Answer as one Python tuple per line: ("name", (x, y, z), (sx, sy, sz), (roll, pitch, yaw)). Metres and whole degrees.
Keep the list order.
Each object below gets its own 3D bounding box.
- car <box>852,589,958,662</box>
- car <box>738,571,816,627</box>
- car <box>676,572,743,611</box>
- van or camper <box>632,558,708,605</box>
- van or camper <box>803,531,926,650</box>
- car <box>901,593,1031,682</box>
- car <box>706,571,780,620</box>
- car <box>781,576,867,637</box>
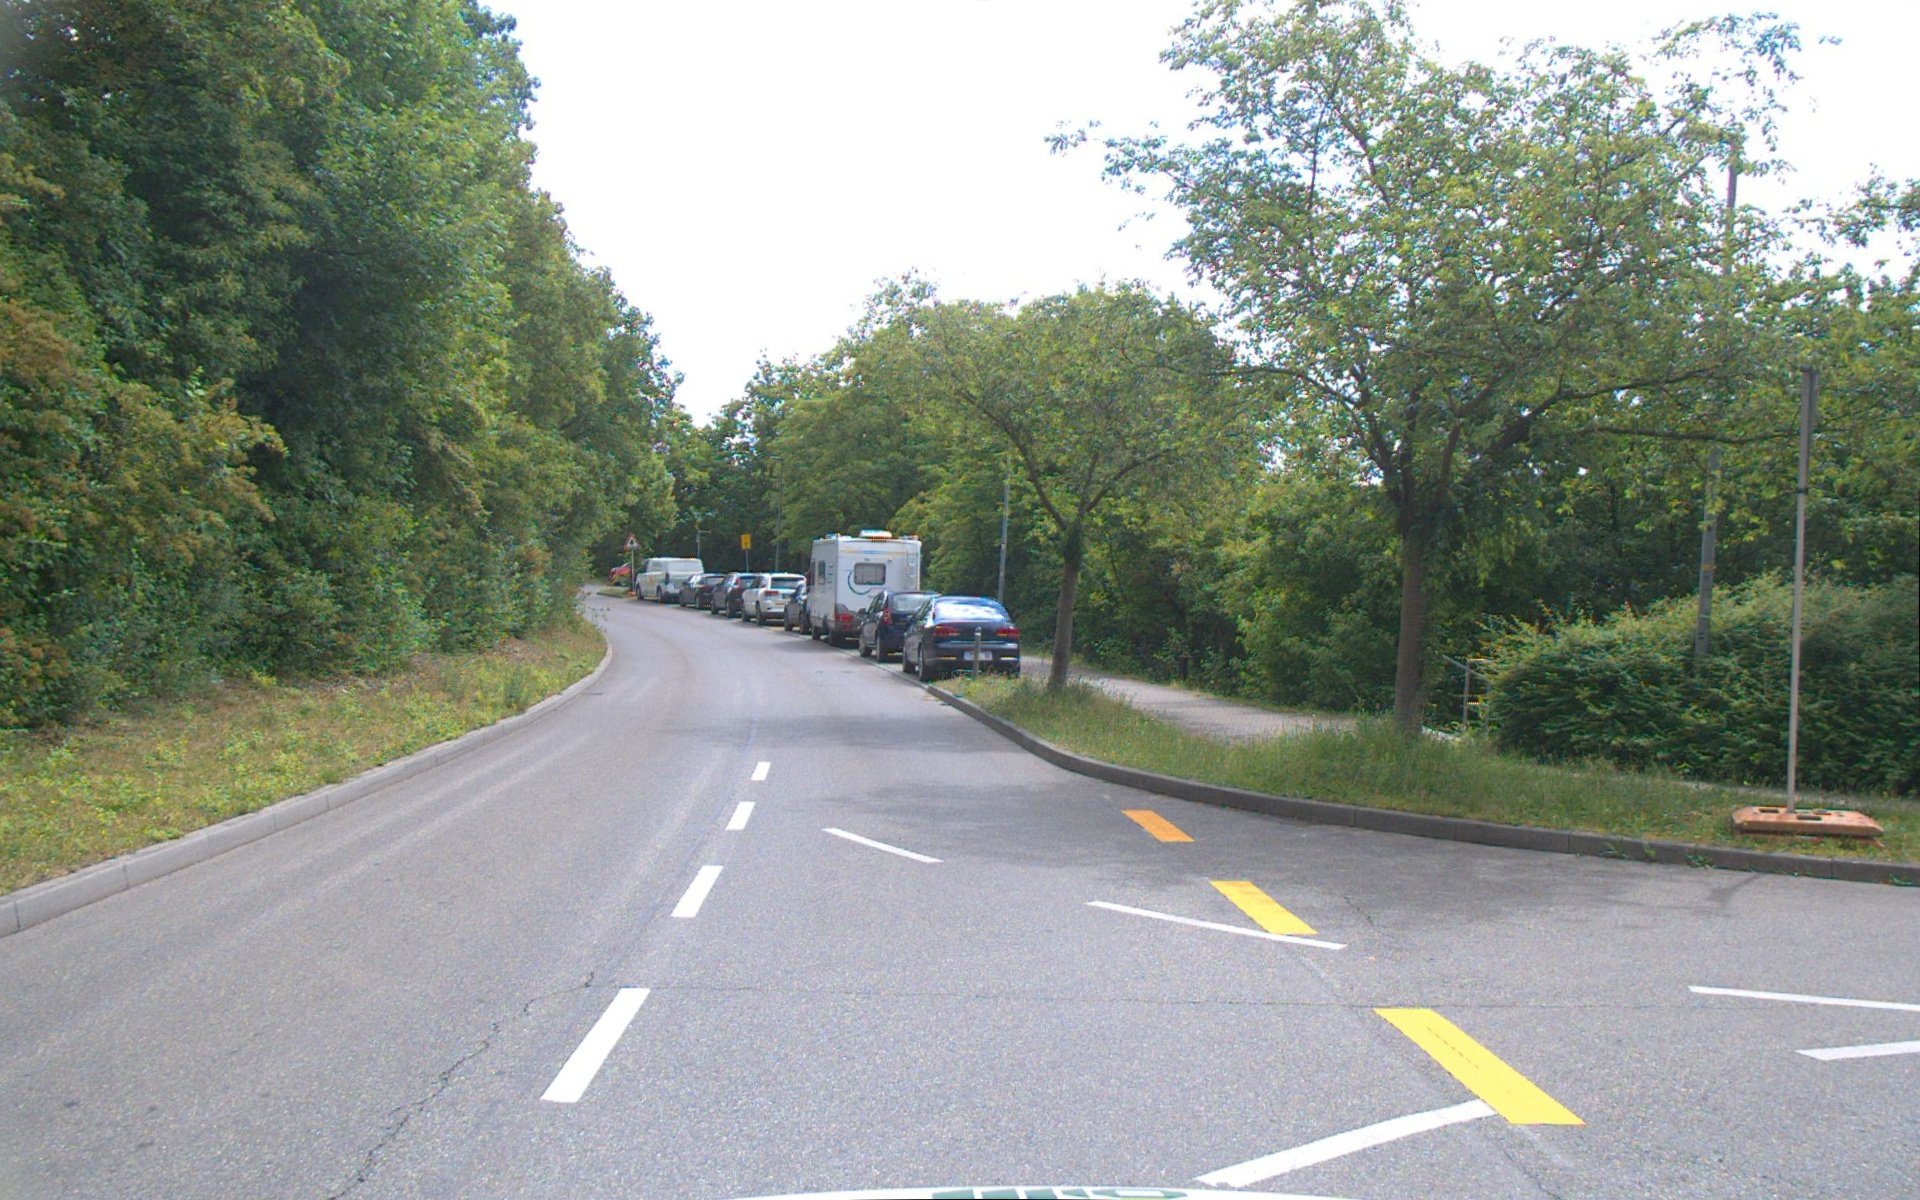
("car", (-1.280, 0.555, 37.121), (1.699, 1.545, 3.876), (0, 0, -13))
("car", (-6.387, -0.065, 57.310), (1.842, 1.718, 4.558), (2, 1, -17))
("car", (-10.514, -0.371, 69.215), (1.774, 1.489, 3.971), (1, 1, -24))
("van or camper", (-13.117, -0.876, 74.570), (1.970, 1.953, 5.220), (0, 3, -27))
("van or camper", (-2.678, -0.288, 44.590), (2.292, 2.919, 6.131), (2, 0, -13))
("car", (0.024, 0.625, 30.053), (1.743, 1.459, 4.325), (0, 1, -8))
("car", (-8.285, -0.214, 62.848), (1.964, 1.654, 4.254), (-1, 3, -20))
("car", (-4.192, 0.152, 50.556), (1.685, 1.618, 3.981), (-6, 3, -17))
